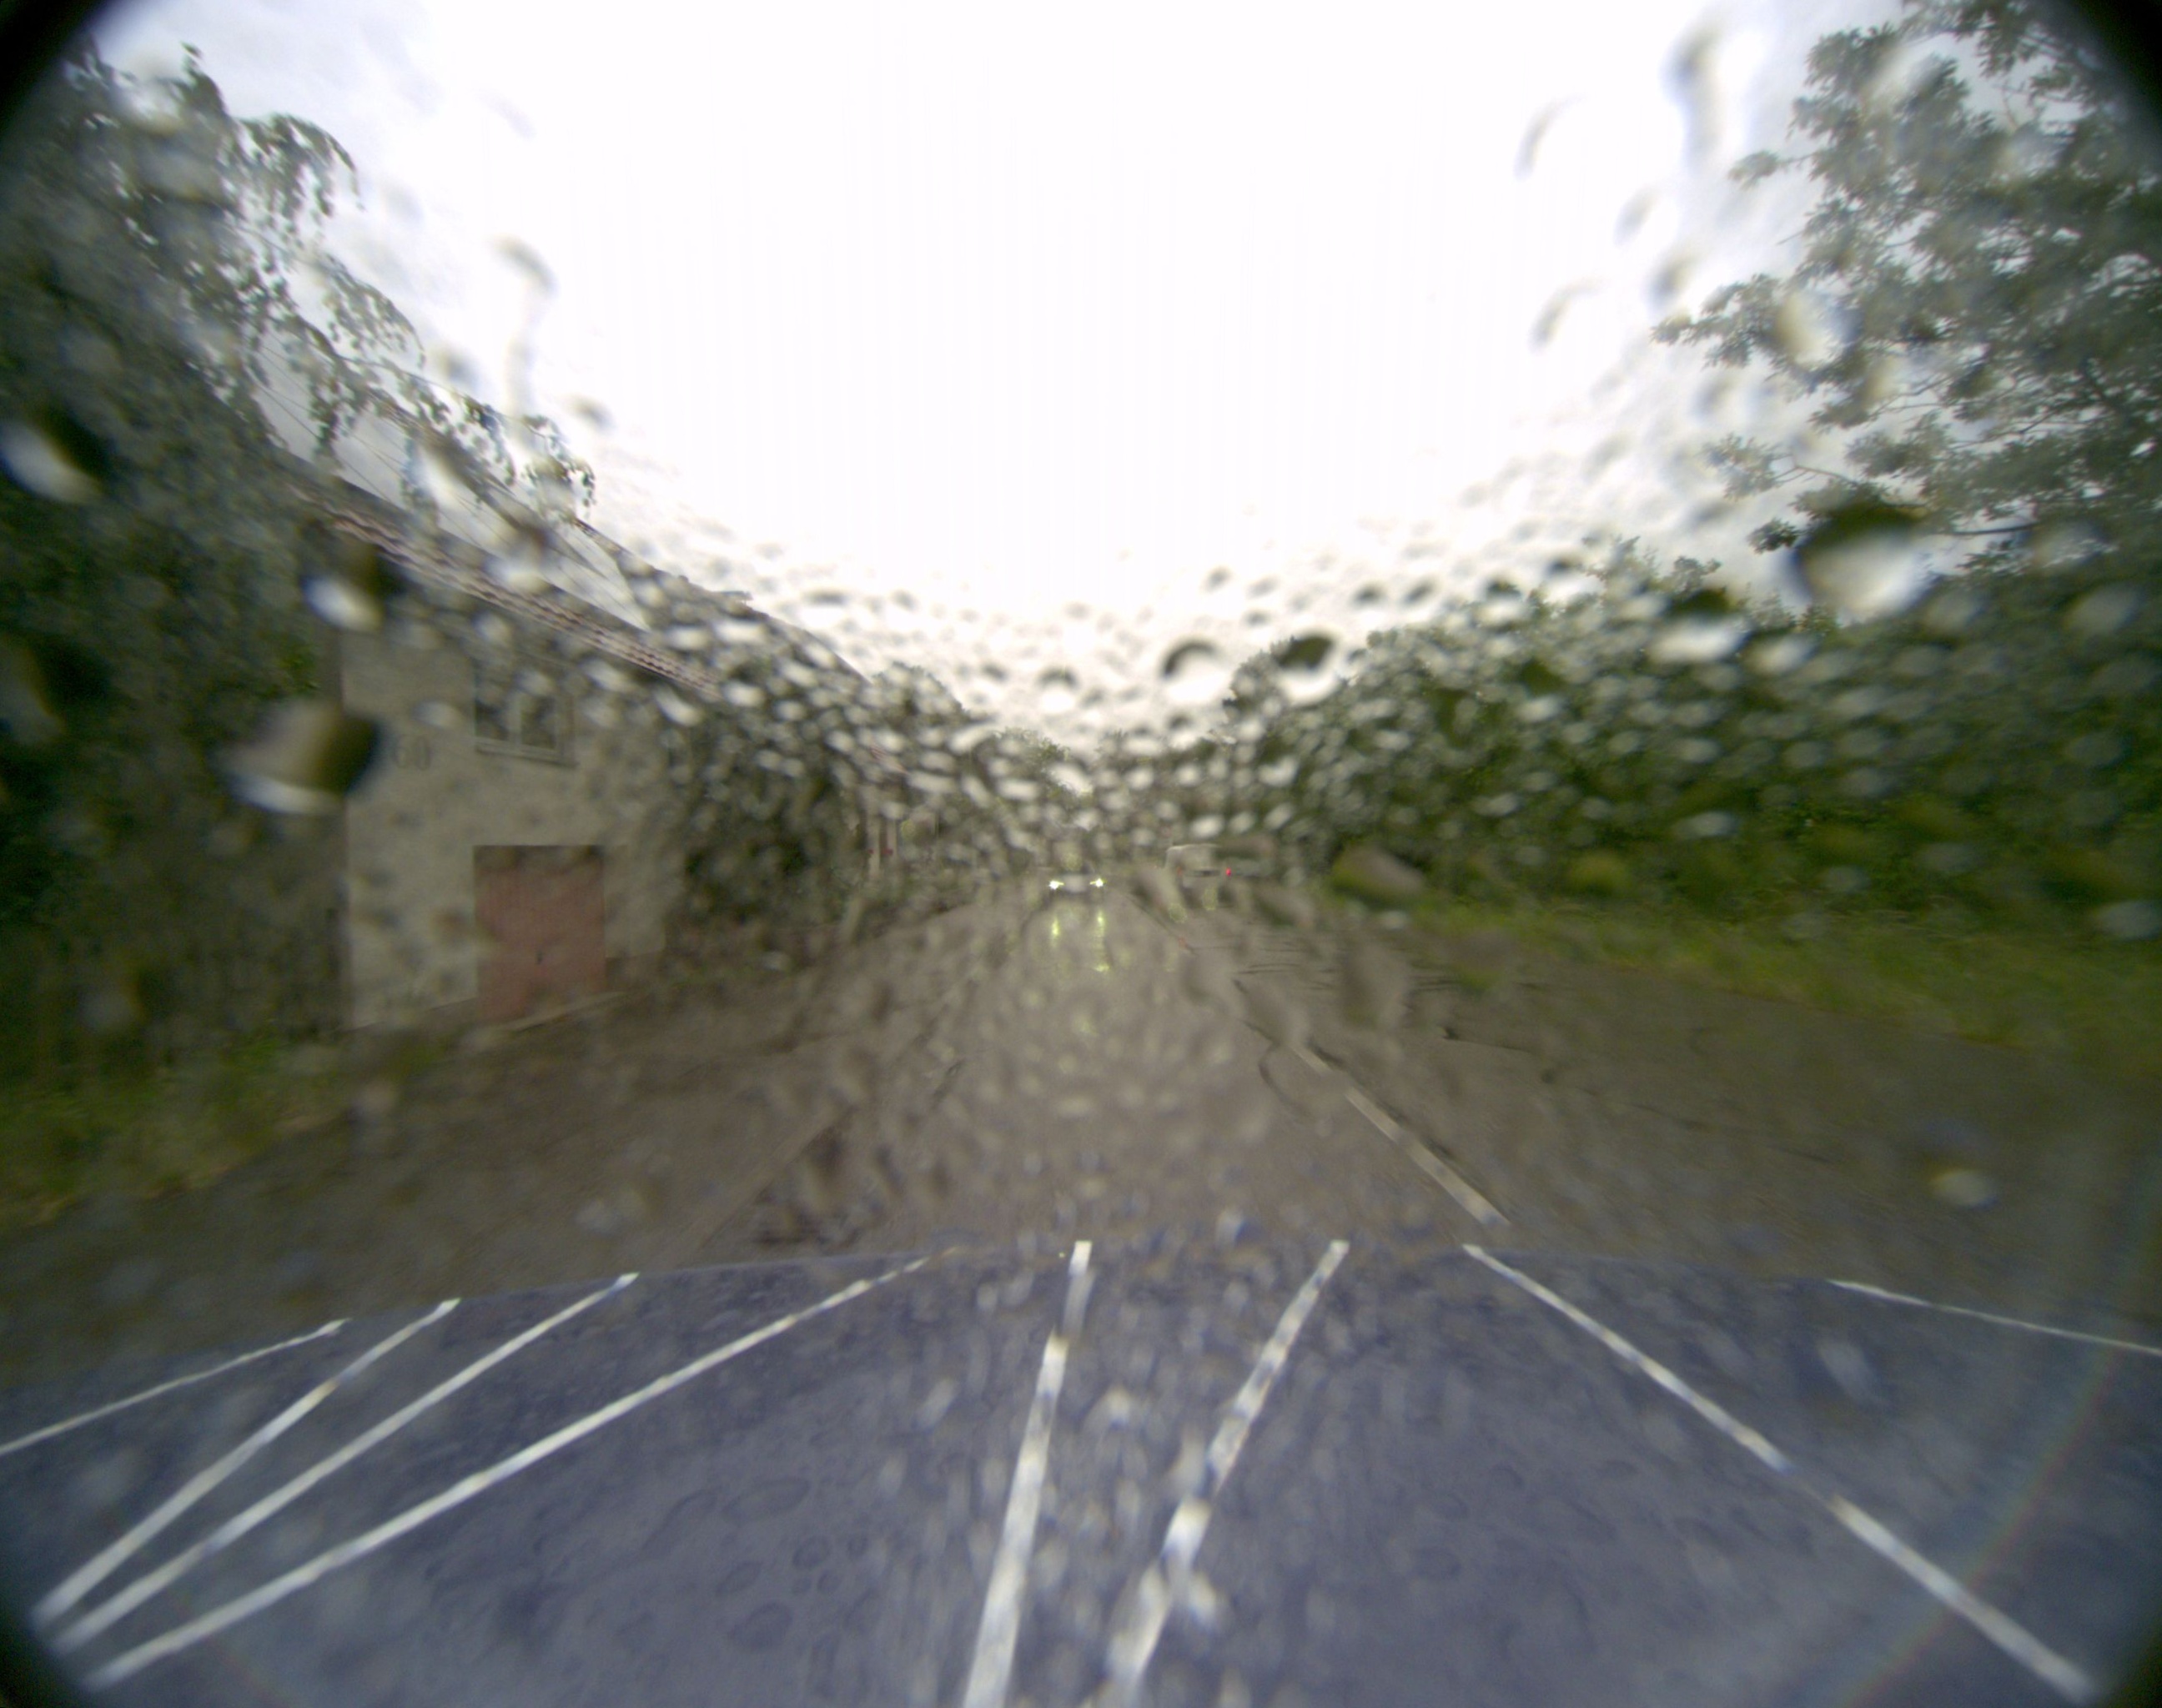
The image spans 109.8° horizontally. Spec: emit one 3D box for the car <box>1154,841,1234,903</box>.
[{"bbox_3d":[3.738,0.549,25.741,1.837,1.853,3.953,-2,1,-3],"label":"car"}]

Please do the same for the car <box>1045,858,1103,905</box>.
[{"bbox_3d":[-0.178,0.868,26.137,1.766,1.316,4.548,-2,1,1],"label":"car"}]
